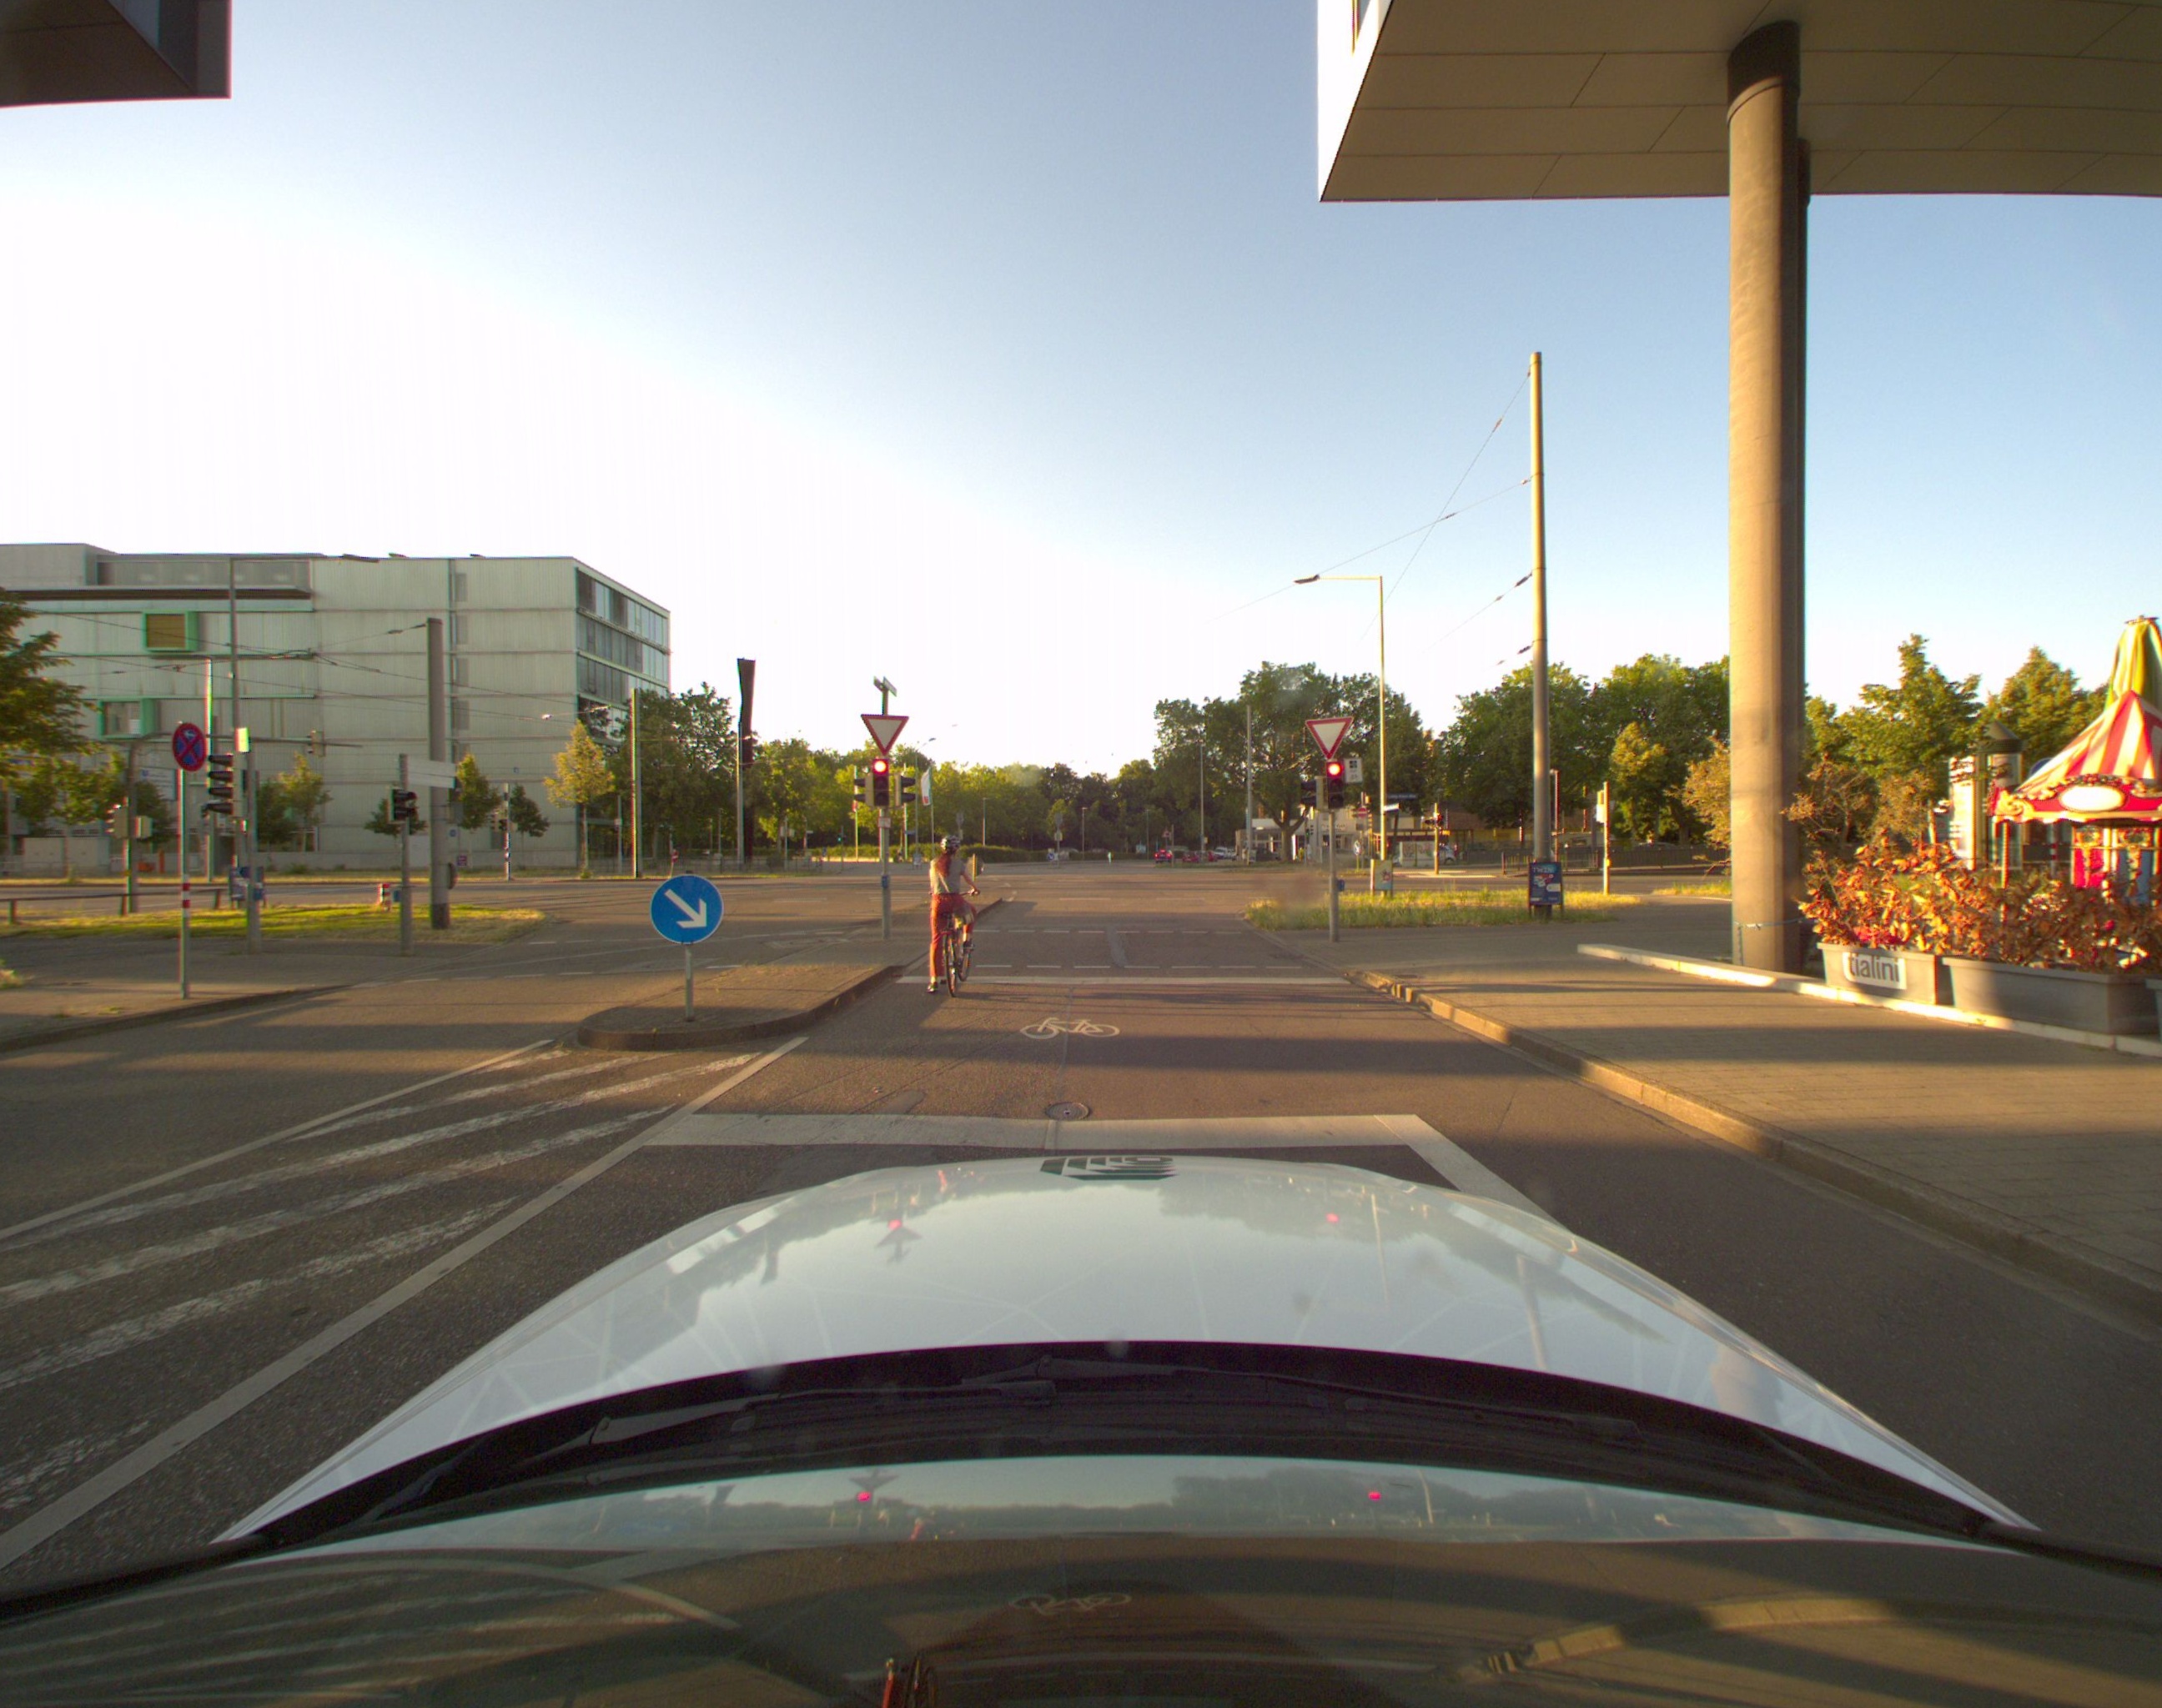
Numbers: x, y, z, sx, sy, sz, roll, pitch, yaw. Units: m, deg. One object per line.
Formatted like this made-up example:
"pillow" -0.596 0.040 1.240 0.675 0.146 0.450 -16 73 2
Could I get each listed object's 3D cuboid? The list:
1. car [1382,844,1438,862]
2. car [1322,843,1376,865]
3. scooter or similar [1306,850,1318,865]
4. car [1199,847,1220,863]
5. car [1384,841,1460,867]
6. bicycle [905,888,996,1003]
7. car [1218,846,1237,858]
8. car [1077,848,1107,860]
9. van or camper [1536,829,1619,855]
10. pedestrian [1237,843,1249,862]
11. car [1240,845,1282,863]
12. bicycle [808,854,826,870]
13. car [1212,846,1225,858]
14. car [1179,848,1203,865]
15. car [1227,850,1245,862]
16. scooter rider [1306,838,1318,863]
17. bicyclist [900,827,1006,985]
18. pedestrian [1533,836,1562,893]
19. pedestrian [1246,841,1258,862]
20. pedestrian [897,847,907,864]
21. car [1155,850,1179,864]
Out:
"car" 28.948 -0.093 71.805 4.211 1.577 2.002 -1 0 4
"car" 23.662 -0.031 72.082 4.211 1.846 2.002 -1 0 4
"scooter or similar" 17.178 0.247 60.581 0.508 1.090 1.243 -1 0 2
"car" 16.259 0.089 103.123 1.899 2.047 4.020 0 0 20
"car" 23.660 -0.023 56.518 4.523 1.728 1.860 -1 0 -3
"bicycle" -1.445 0.979 9.406 0.632 1.068 2.123 -1 0 2
"car" 24.376 -0.305 135.346 1.975 2.013 4.024 -1 0 27
"car" 1.491 -0.012 109.692 3.970 1.561 2.002 -1 0 3
"van or camper" 47.936 -1.104 78.762 6.530 2.410 2.268 -1 0 6
"pedestrian" 13.580 -0.125 68.185 0.712 1.639 0.903 -1 0 26
"car" 19.589 0.009 88.682 4.354 1.835 1.952 -1 0 6
"bicycle" -20.717 0.614 63.908 0.697 1.136 2.392 -1 0 -1
"car" 22.082 -0.324 130.872 1.982 2.013 4.010 -1 0 9
"car" 12.927 0.265 95.582 1.852 1.874 3.896 0 0 23
"car" 21.979 0.254 115.182 1.899 1.602 4.020 0 0 20
"scooter rider" 17.162 -0.276 60.629 0.699 1.855 0.669 0 -1 1
"bicyclist" -1.452 0.567 9.421 1.028 1.717 0.996 -1 0 1
"pedestrian" 15.191 0.331 26.526 0.754 1.791 0.807 0 0 26
"pedestrian" 14.262 -0.237 67.856 0.712 1.754 0.903 -1 0 26
"pedestrian" -18.461 0.135 84.112 0.898 1.754 0.715 -1 0 -24
"car" 10.137 0.402 95.665 1.740 1.541 4.423 -1 -1 20
